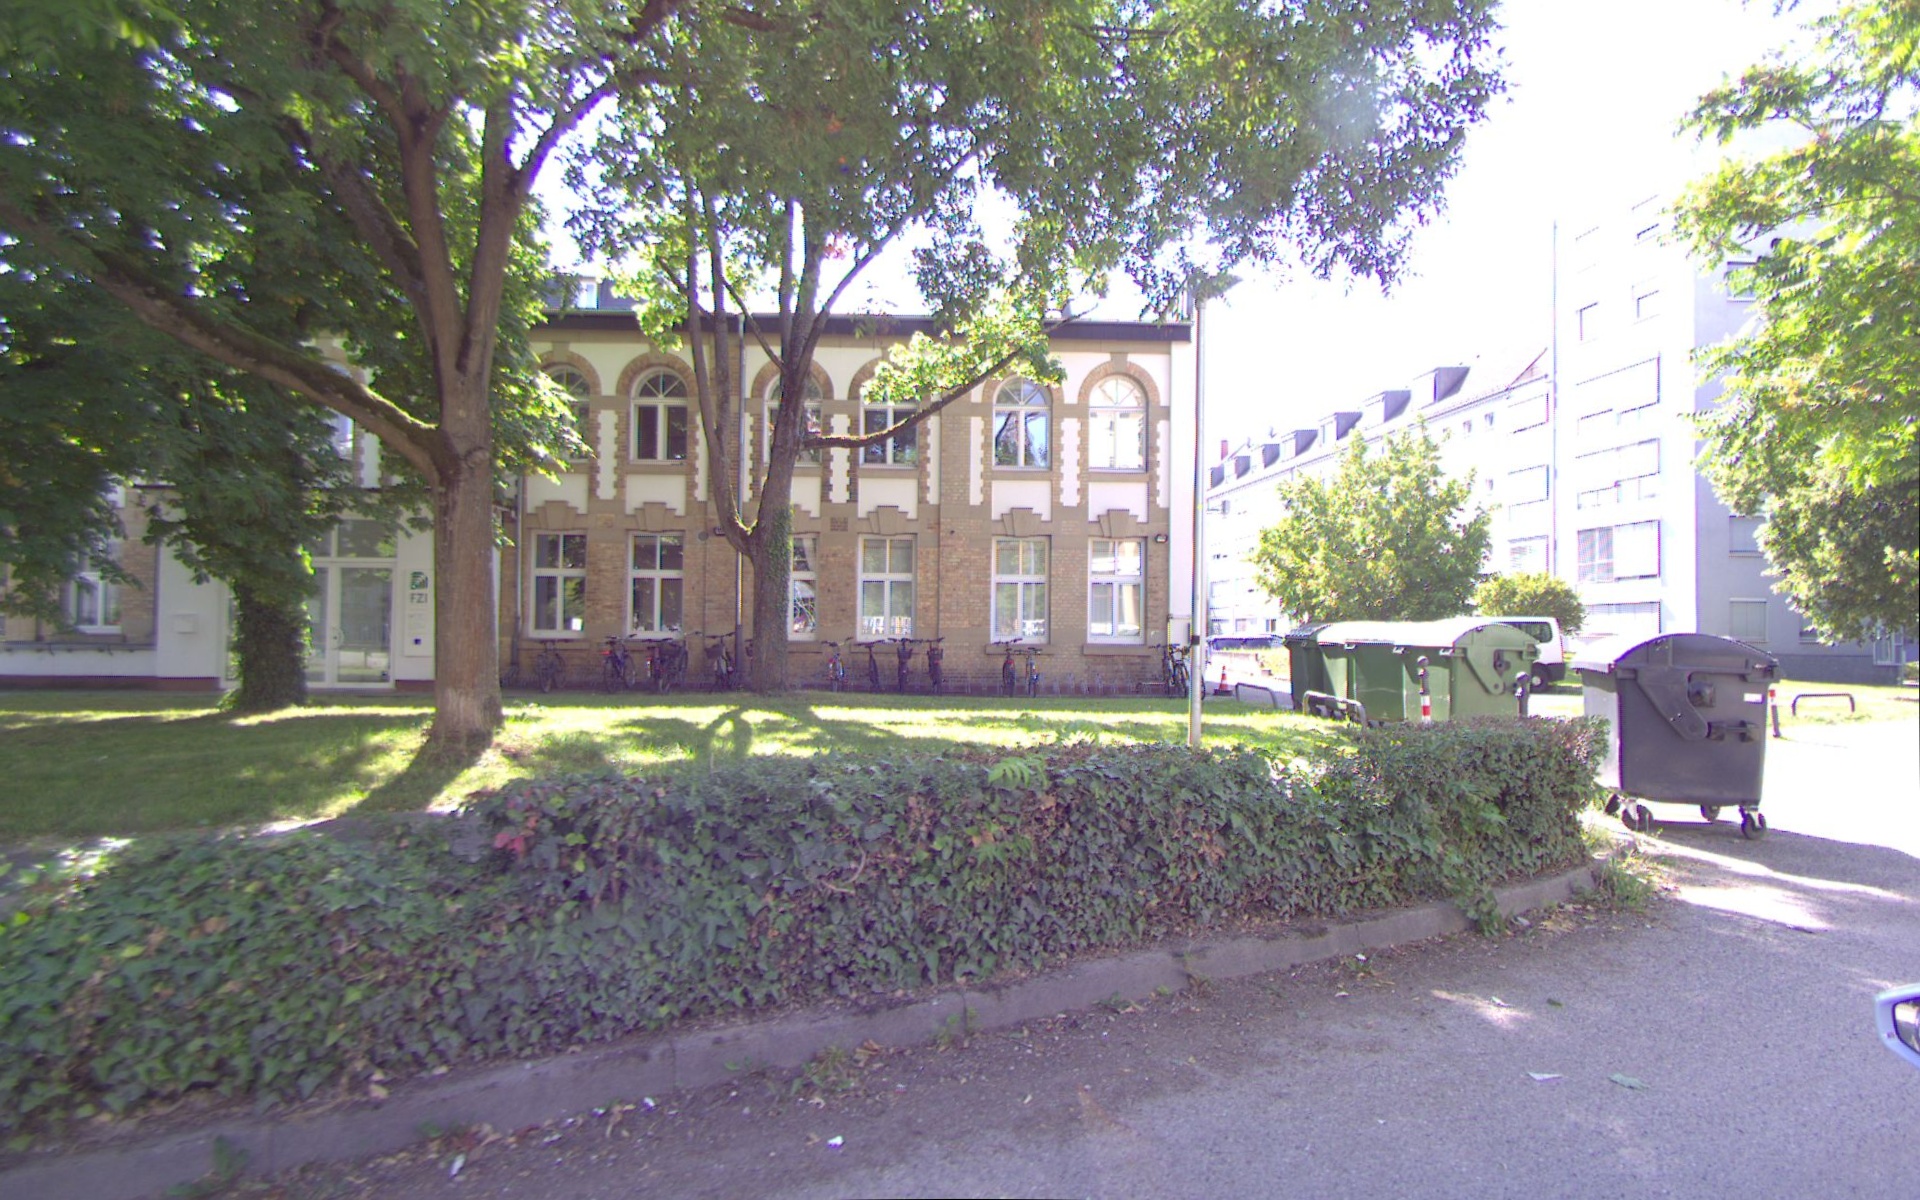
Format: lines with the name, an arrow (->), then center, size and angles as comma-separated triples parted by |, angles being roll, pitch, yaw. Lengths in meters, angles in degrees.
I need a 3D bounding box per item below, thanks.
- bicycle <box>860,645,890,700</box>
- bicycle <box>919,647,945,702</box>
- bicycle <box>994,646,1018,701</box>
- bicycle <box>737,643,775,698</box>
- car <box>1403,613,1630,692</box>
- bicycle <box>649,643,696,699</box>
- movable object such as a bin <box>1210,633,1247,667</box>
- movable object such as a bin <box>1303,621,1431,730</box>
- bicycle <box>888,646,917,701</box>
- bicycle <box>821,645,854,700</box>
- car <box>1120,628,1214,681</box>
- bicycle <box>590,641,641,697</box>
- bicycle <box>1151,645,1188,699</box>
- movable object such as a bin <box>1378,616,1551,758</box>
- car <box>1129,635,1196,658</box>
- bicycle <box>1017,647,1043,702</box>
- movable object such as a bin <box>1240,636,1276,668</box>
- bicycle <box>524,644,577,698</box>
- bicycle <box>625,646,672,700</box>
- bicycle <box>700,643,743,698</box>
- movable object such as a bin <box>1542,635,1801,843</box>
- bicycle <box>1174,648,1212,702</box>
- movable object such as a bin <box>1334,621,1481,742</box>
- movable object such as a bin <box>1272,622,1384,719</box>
bicycle -> -1.678, 1.425, 19.977 | 0.437, 1.005, 1.541 | 0, -1, 2
bicycle -> -0.545, 1.461, 20.006 | 0.437, 1.005, 1.541 | 0, -1, 2
bicycle -> 0.901, 1.440, 20.003 | 0.437, 1.005, 1.667 | 0, -1, 2
bicycle -> -4.016, 1.382, 19.868 | 0.437, 1.005, 1.541 | 0, -1, 0
car -> 14.689, 1.378, 26.711 | 4.941, 1.958, 2.000 | 1, -2, 0
bicycle -> -5.645, 1.378, 19.797 | 0.437, 1.005, 1.541 | 0, -1, 2
movable object such as a bin -> 11.279, 2.110, 42.275 | 1.226, 1.336, 1.143 | -2, -3, 1
movable object such as a bin -> 5.694, 1.033, 14.165 | 1.224, 1.450, 1.366 | 0, -2, -2
bicycle -> -1.135, 1.446, 19.991 | 0.437, 1.005, 1.541 | 0, -1, 2
bicycle -> -2.412, 1.408, 19.874 | 0.437, 1.005, 1.541 | 0, -1, 2
car -> 6.263, 1.698, 30.853 | 1.807, 1.460, 4.431 | 2, -4, -2
bicycle -> -6.733, 1.334, 19.700 | 0.437, 1.005, 1.541 | 0, -1, 2
bicycle -> 4.218, 1.424, 20.253 | 0.437, 1.005, 1.631 | 0, -1, 2
movable object such as a bin -> 5.656, 0.953, 11.369 | 1.225, 1.501, 1.338 | 1, -2, -7
car -> 14.004, 3.199, 69.581 | 4.162, 1.552, 1.999 | 0, -1, -5
bicycle -> 1.394, 1.469, 20.036 | 0.437, 1.005, 1.686 | 0, -1, 2
movable object such as a bin -> 12.546, 2.185, 42.322 | 1.226, 1.358, 1.143 | 0, -2, 2
bicycle -> -8.027, 1.366, 19.719 | 0.437, 1.005, 1.541 | 2, -2, -3
bicycle -> -6.119, 1.413, 19.781 | 0.367, 1.002, 1.600 | 0, -2, 1
bicycle -> -4.677, 1.359, 19.750 | 0.437, 1.005, 1.541 | 0, -1, 2
movable object such as a bin -> 5.365, 0.979, 7.731 | 1.223, 1.415, 1.405 | 0, -2, 17
bicycle -> 4.695, 1.500, 20.318 | 0.437, 1.005, 1.541 | 0, -1, 2
movable object such as a bin -> 5.654, 1.000, 12.776 | 1.226, 1.450, 1.221 | 1, -2, -12
movable object such as a bin -> 5.708, 1.077, 15.677 | 1.224, 1.450, 1.350 | 0, -2, -2
